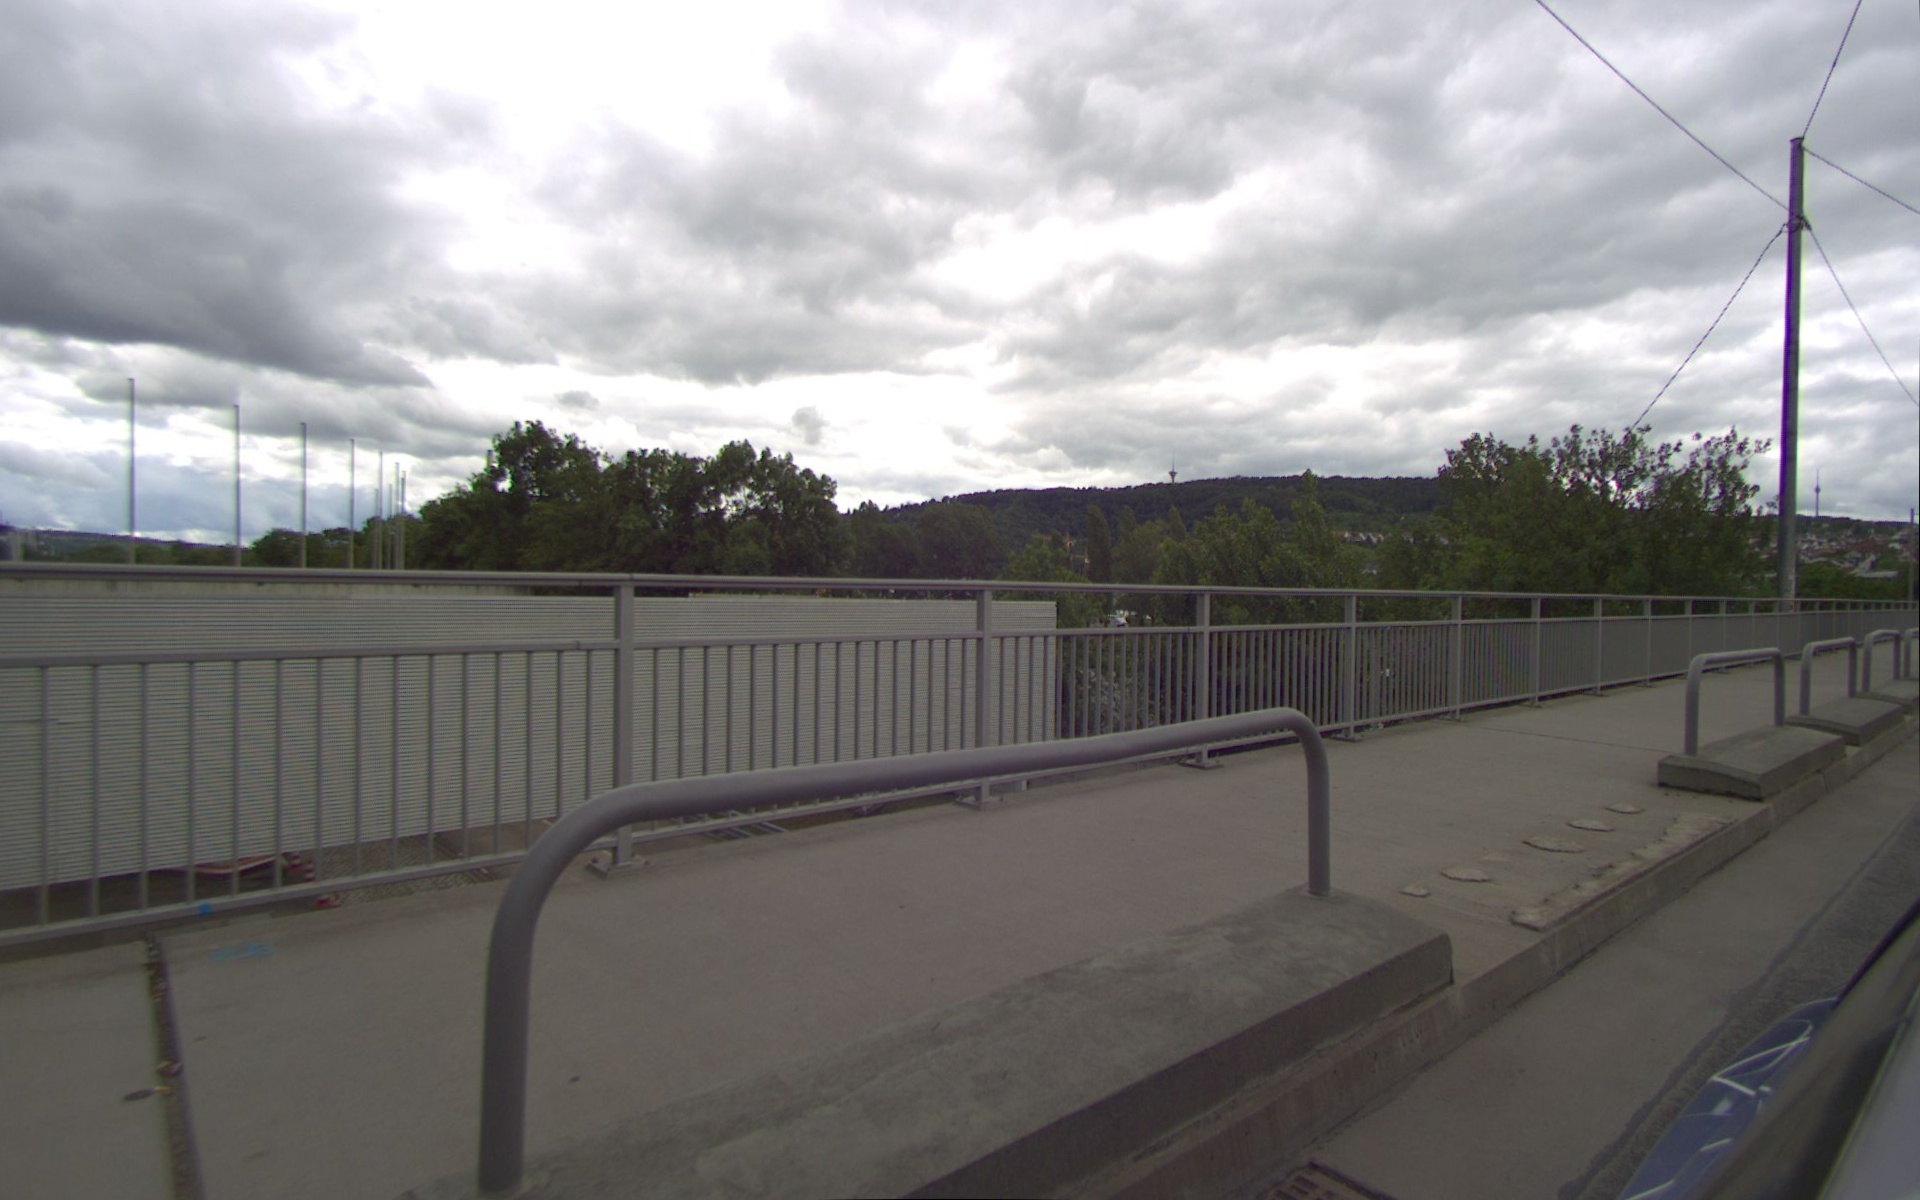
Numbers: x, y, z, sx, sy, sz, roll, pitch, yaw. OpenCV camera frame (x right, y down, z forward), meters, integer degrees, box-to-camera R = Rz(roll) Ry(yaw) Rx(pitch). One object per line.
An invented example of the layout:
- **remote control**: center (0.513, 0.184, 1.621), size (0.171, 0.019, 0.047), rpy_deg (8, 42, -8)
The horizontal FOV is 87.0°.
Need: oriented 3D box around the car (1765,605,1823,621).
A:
- **car**: center (86.271, 1.369, 104.758), size (1.965, 1.640, 4.335), rpy_deg (-1, -1, -41)
